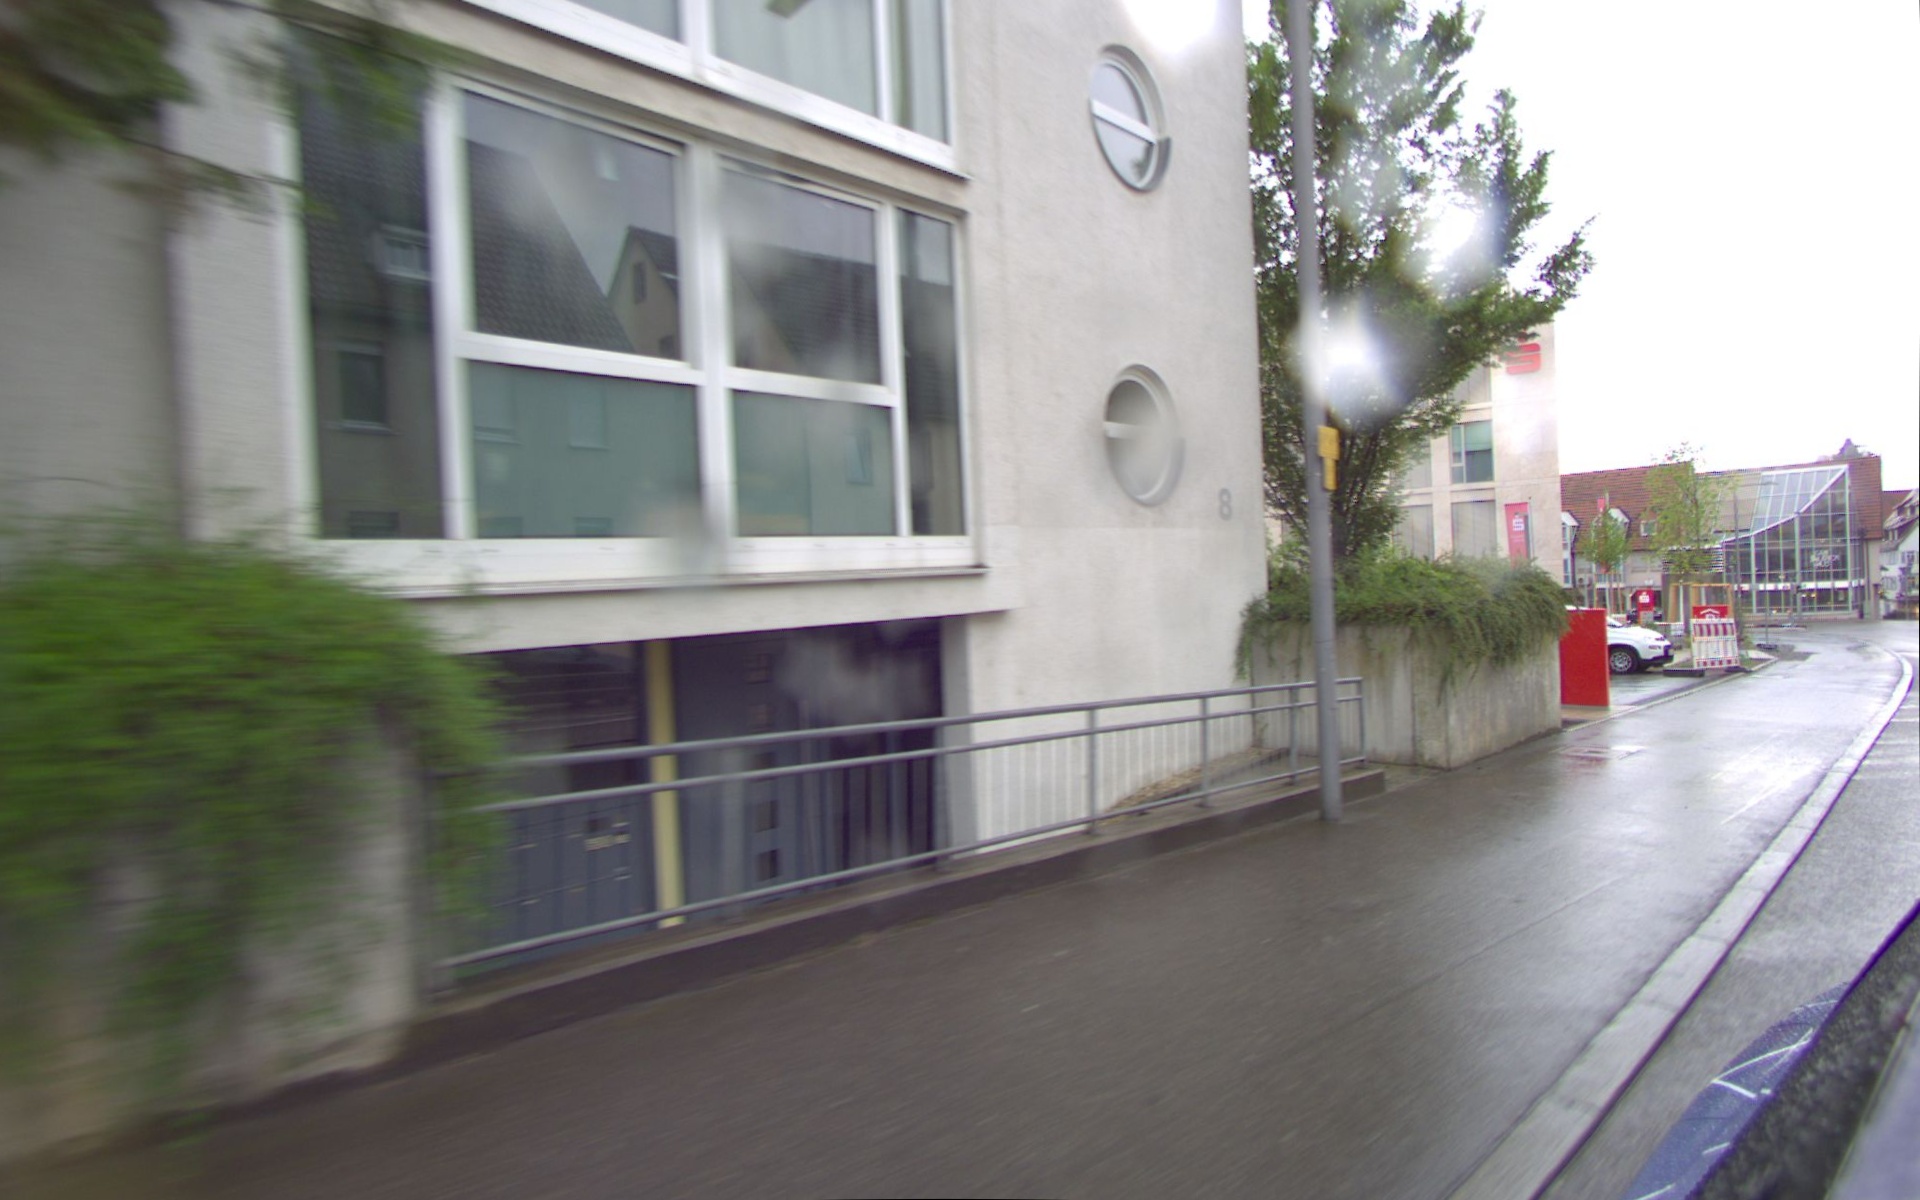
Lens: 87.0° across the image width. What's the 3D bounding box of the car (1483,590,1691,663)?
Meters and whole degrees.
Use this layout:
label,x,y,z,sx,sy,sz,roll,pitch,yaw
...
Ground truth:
label,x,y,z,sx,sy,sz,roll,pitch,yaw
car,14.146,0.614,22.942,1.747,1.523,3.668,0,-2,-44
